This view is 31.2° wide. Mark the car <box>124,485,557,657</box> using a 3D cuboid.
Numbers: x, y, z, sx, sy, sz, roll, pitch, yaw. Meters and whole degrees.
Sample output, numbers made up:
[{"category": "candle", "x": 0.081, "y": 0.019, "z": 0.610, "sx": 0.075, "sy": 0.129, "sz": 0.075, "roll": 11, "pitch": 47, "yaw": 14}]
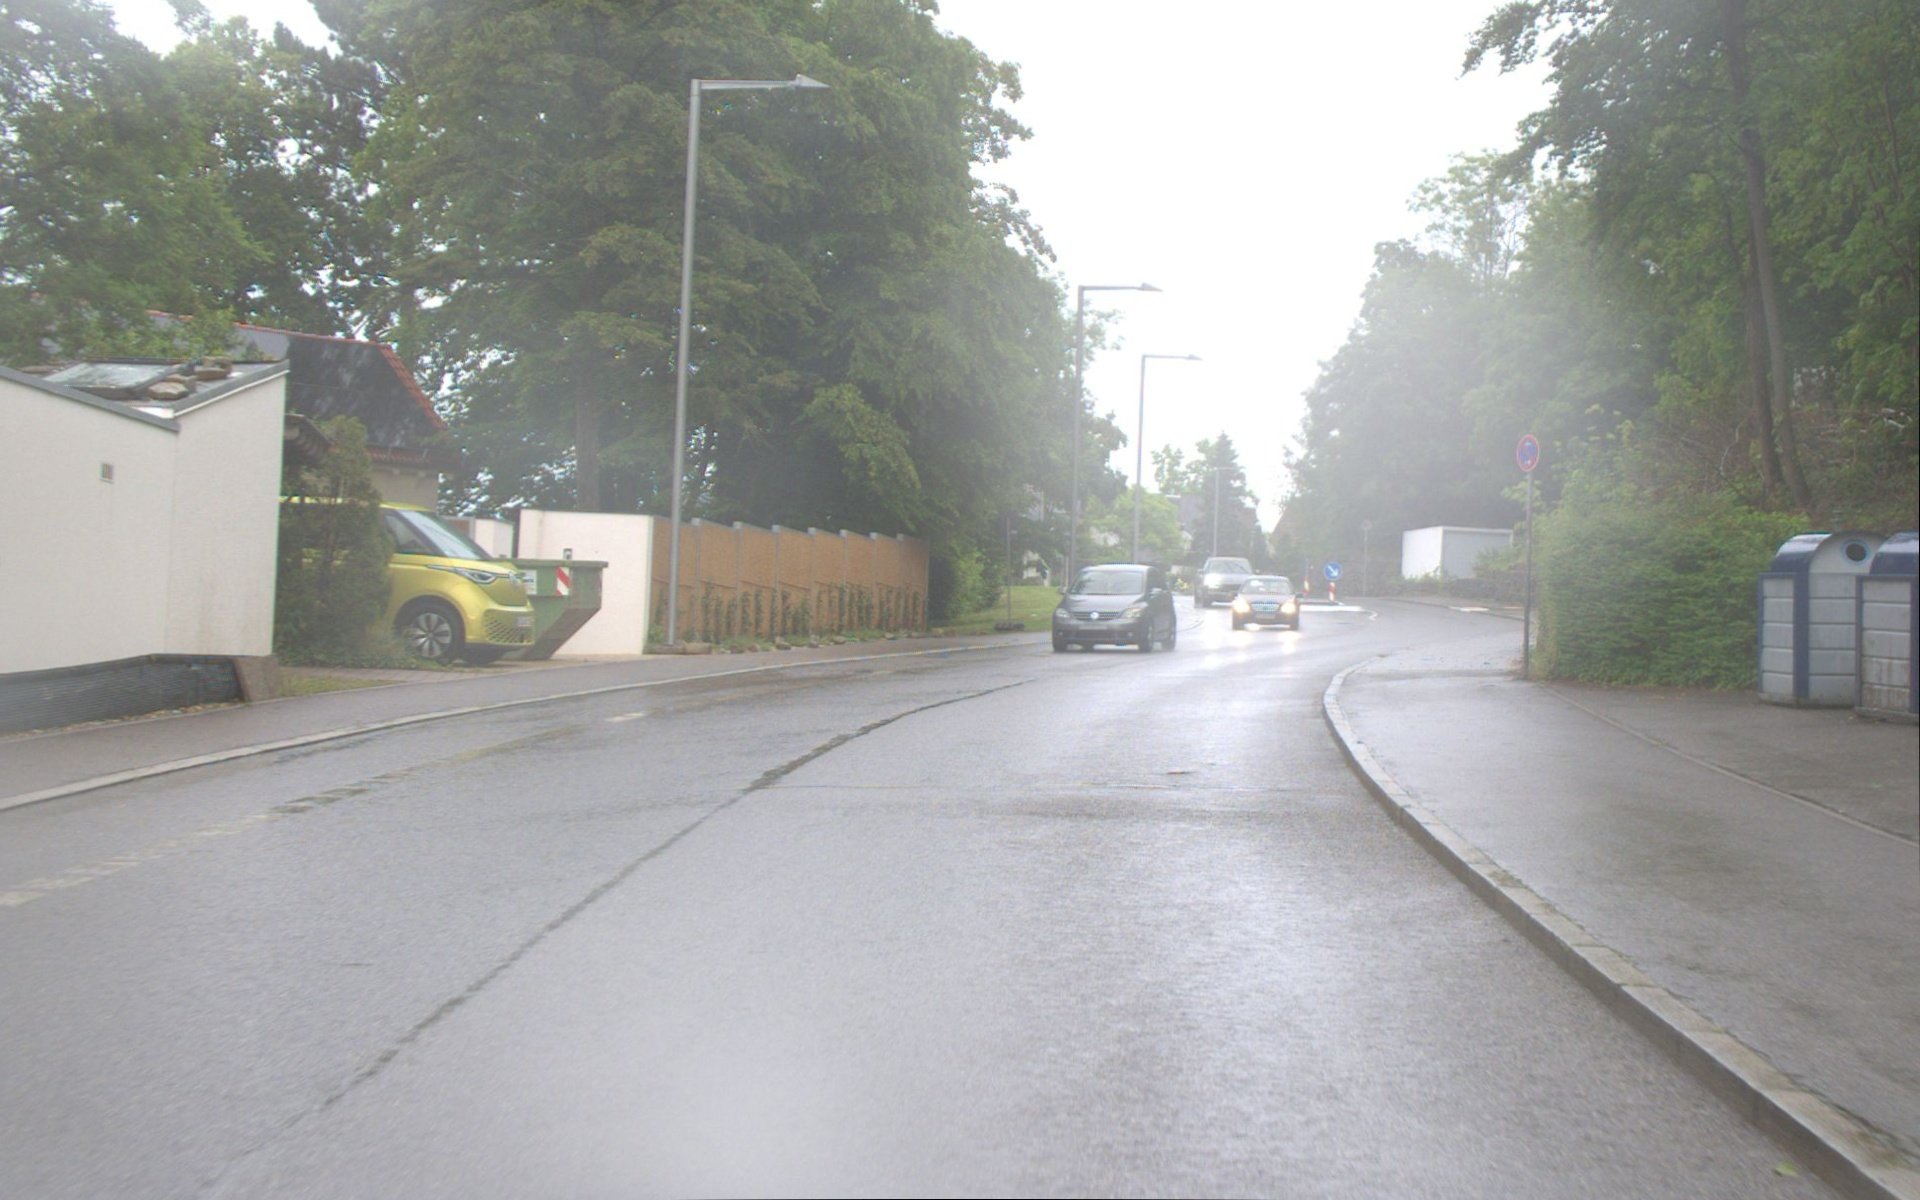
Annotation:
[{"category": "car", "x": -7.187, "y": -0.352, "z": 40.102, "sx": 4.505, "sy": 1.853, "sz": 2.088, "roll": 1, "pitch": 1, "yaw": 10}]

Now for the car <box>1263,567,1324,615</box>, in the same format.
[{"category": "car", "x": 11.782, "y": -0.311, "z": 121.152, "sx": 1.919, "sy": 1.642, "sz": 4.545, "roll": 1, "pitch": 0, "yaw": 8}]

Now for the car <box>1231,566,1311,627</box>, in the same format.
[{"category": "car", "x": 8.211, "y": -0.103, "z": 90.573, "sx": 1.835, "sy": 1.506, "sz": 4.167, "roll": 2, "pitch": 0, "yaw": 8}]

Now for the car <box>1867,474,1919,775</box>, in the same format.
[{"category": "car", "x": 8.476, "y": 0.180, "z": 23.127, "sx": 4.828, "sy": 1.934, "sz": 2.156, "roll": 0, "pitch": 1, "yaw": -40}]

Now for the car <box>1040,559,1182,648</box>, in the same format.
[{"category": "car", "x": 2.778, "y": 0.046, "z": 62.211, "sx": 1.835, "sy": 1.506, "sz": 4.615, "roll": 2, "pitch": 0, "yaw": 11}]
